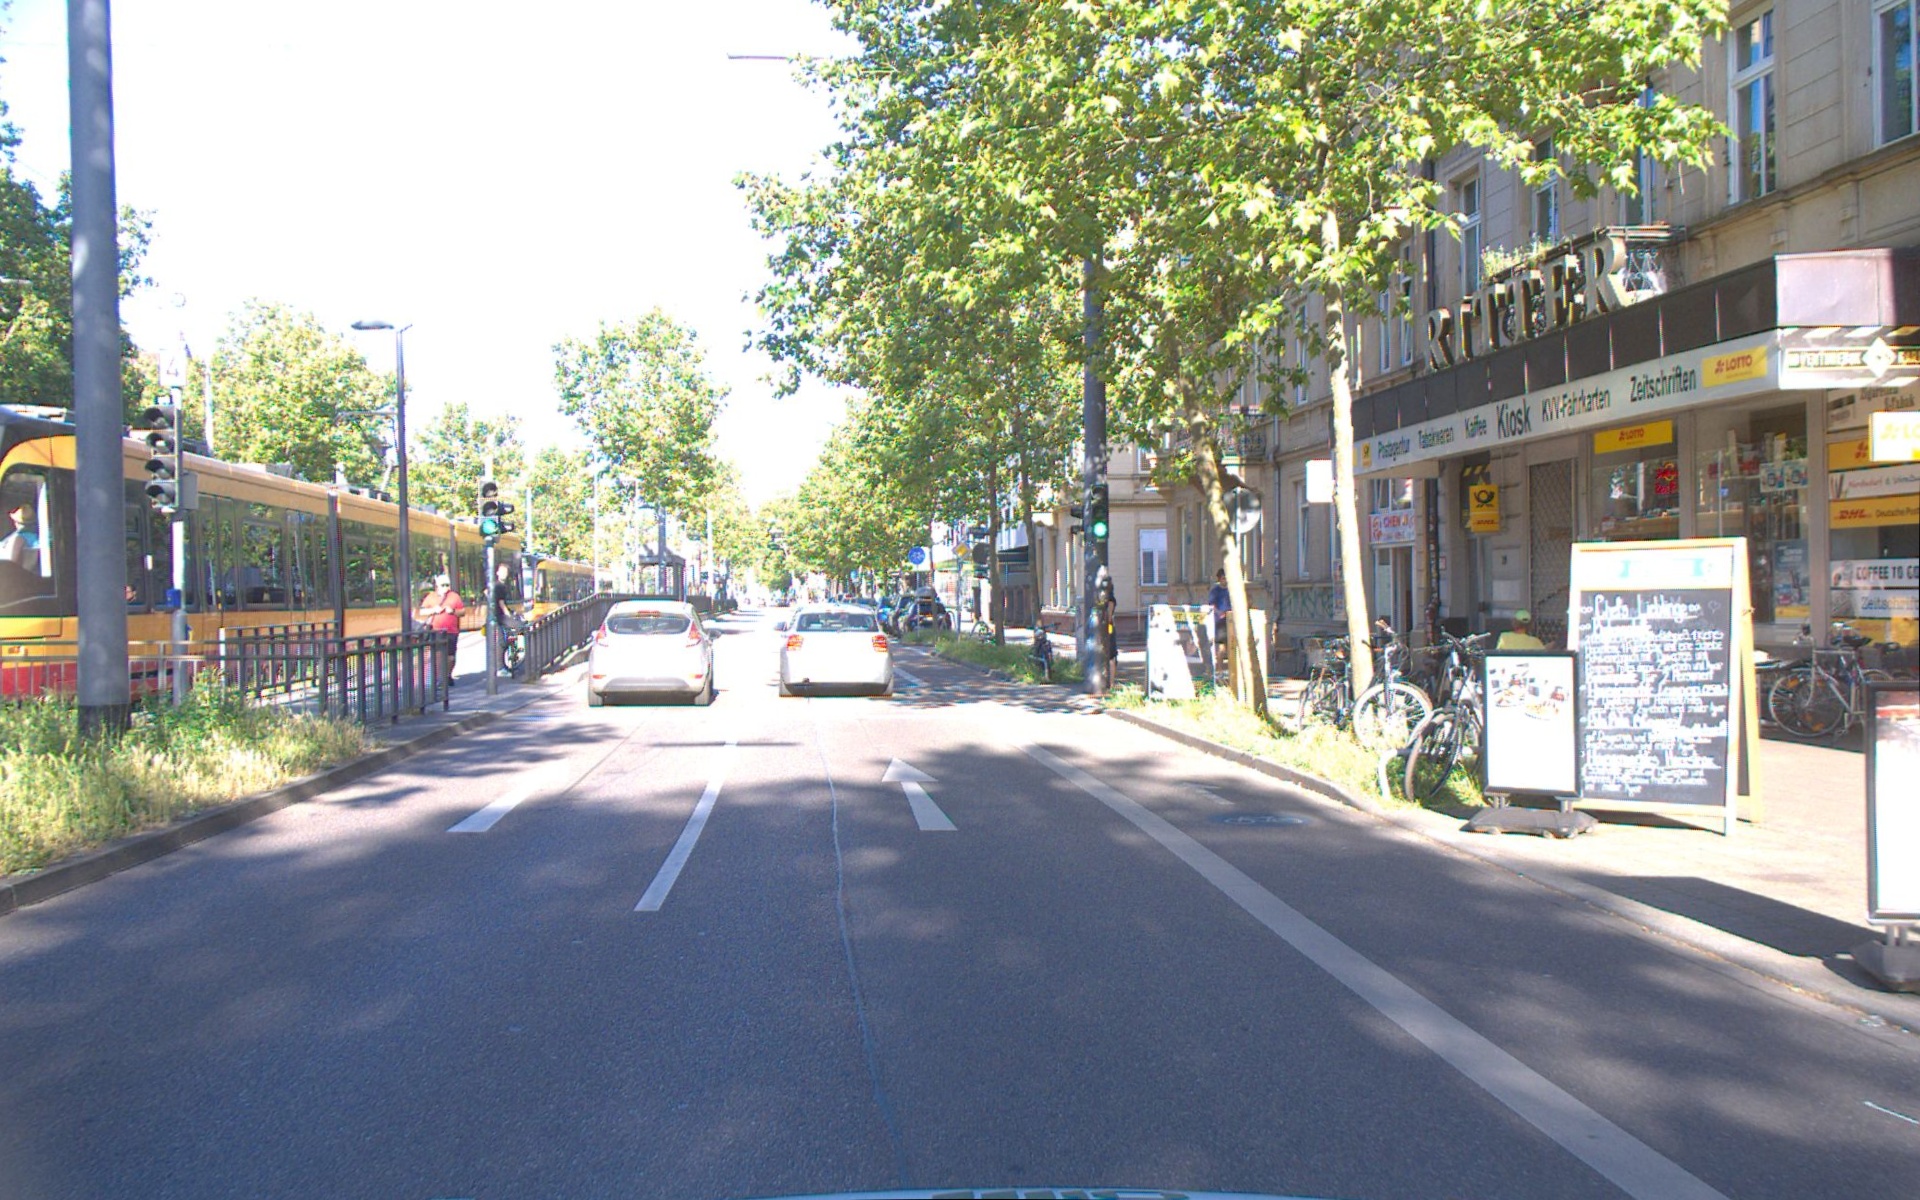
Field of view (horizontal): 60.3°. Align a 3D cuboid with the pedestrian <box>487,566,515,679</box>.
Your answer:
[{"bbox_3d":[-7.897,0.383,28.466,0.443,1.936,0.582,0,0,-14],"label":"pedestrian"}]

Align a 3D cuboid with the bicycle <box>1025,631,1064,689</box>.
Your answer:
[{"bbox_3d":[1.533,1.077,30.161,0.419,0.987,1.748,1,0,-6],"label":"bicycle"}]

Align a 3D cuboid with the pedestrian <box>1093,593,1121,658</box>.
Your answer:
[{"bbox_3d":[4.254,0.739,47.930,0.553,1.859,0.957,1,0,-10],"label":"pedestrian"}]

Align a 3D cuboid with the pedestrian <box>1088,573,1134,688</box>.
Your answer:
[{"bbox_3d":[2.413,0.485,26.515,0.629,1.802,0.868,1,0,0],"label":"pedestrian"}]

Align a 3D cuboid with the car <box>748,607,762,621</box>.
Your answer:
[{"bbox_3d":[-30.041,2.019,241.998,1.955,2.049,3.995,1,0,-6],"label":"car"}]

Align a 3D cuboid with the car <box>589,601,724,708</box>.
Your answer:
[{"bbox_3d":[-4.337,0.734,24.048,1.615,1.386,3.755,1,0,-6],"label":"car"}]

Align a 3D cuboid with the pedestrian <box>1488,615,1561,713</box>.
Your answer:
[{"bbox_3d":[6.955,0.782,20.375,0.764,1.181,0.464,1,0,-32],"label":"pedestrian"}]

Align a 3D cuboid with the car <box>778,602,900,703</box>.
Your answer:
[{"bbox_3d":[-1.995,0.782,26.419,1.729,1.457,3.994,1,0,-7],"label":"car"}]

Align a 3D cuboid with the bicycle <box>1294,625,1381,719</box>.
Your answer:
[{"bbox_3d":[4.381,0.820,19.284,0.434,1.010,1.686,1,0,-7],"label":"bicycle"}]

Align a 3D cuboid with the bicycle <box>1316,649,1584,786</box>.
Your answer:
[{"bbox_3d":[3.785,0.904,12.790,1.976,1.010,0.443,1,0,-9],"label":"bicycle"}]

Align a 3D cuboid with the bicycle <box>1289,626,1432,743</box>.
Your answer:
[{"bbox_3d":[3.764,0.768,15.671,0.436,1.010,1.678,1,0,-20],"label":"bicycle"}]

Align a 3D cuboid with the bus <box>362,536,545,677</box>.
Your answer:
[{"bbox_3d":[-14.043,0.172,46.926,2.814,3.504,11.595,0,0,-6],"label":"bus"}]

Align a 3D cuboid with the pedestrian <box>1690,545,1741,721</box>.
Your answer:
[{"bbox_3d":[8.083,0.345,17.702,0.458,1.842,0.773,1,0,25],"label":"pedestrian"}]

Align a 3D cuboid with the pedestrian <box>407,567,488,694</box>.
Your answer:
[{"bbox_3d":[-8.026,0.468,25.957,1.052,1.949,1.124,0,0,-8],"label":"pedestrian"}]

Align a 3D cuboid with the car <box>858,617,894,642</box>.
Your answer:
[{"bbox_3d":[-5.290,1.857,103.499,1.955,1.535,4.591,1,-1,-6],"label":"car"}]

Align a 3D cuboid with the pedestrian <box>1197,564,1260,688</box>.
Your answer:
[{"bbox_3d":[4.522,0.439,27.938,0.864,2.049,0.856,1,0,-3],"label":"pedestrian"}]

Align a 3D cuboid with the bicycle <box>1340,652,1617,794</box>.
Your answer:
[{"bbox_3d":[3.857,0.913,12.319,1.966,1.010,0.443,1,0,-9],"label":"bicycle"}]

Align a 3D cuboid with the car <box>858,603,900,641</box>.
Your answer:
[{"bbox_3d":[-3.814,0.998,77.370,1.659,1.687,4.033,-1,1,-7],"label":"car"}]

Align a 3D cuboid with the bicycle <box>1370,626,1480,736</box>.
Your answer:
[{"bbox_3d":[4.661,0.788,16.672,0.434,1.010,1.686,1,0,-7],"label":"bicycle"}]

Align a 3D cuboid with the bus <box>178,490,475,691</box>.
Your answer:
[{"bbox_3d":[-12.844,-0.161,34.995,2.814,3.504,12.198,0,0,-6],"label":"bus"}]

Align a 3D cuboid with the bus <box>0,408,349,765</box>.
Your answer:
[{"bbox_3d":[-11.507,-0.118,22.496,2.814,3.504,13.199,0,0,-6],"label":"bus"}]

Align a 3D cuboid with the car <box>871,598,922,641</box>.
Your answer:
[{"bbox_3d":[-2.660,0.780,68.339,1.763,1.730,4.730,0,0,-7],"label":"car"}]

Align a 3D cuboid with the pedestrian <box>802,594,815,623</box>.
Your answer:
[{"bbox_3d":[-10.855,0.610,118.264,0.821,2.049,0.648,1,0,0],"label":"pedestrian"}]

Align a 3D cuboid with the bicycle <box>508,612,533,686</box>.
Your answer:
[{"bbox_3d":[-7.614,0.833,28.663,0.322,1.235,1.823,0,0,-12],"label":"bicycle"}]

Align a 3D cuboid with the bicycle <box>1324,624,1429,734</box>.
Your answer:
[{"bbox_3d":[4.161,0.766,16.627,0.434,1.010,1.686,1,0,-7],"label":"bicycle"}]

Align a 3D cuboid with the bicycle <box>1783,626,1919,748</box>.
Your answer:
[{"bbox_3d":[8.250,0.766,15.118,0.434,1.010,1.686,1,0,-7],"label":"bicycle"}]

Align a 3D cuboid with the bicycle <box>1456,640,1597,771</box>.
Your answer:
[{"bbox_3d":[4.828,0.875,14.188,0.434,1.010,1.686,1,0,-7],"label":"bicycle"}]

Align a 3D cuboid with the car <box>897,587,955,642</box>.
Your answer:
[{"bbox_3d":[-1.310,0.515,62.146,1.721,1.999,4.730,0,0,-7],"label":"car"}]

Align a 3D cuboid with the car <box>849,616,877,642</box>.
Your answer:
[{"bbox_3d":[-6.396,1.899,108.726,1.637,1.578,3.995,1,0,-6],"label":"car"}]
